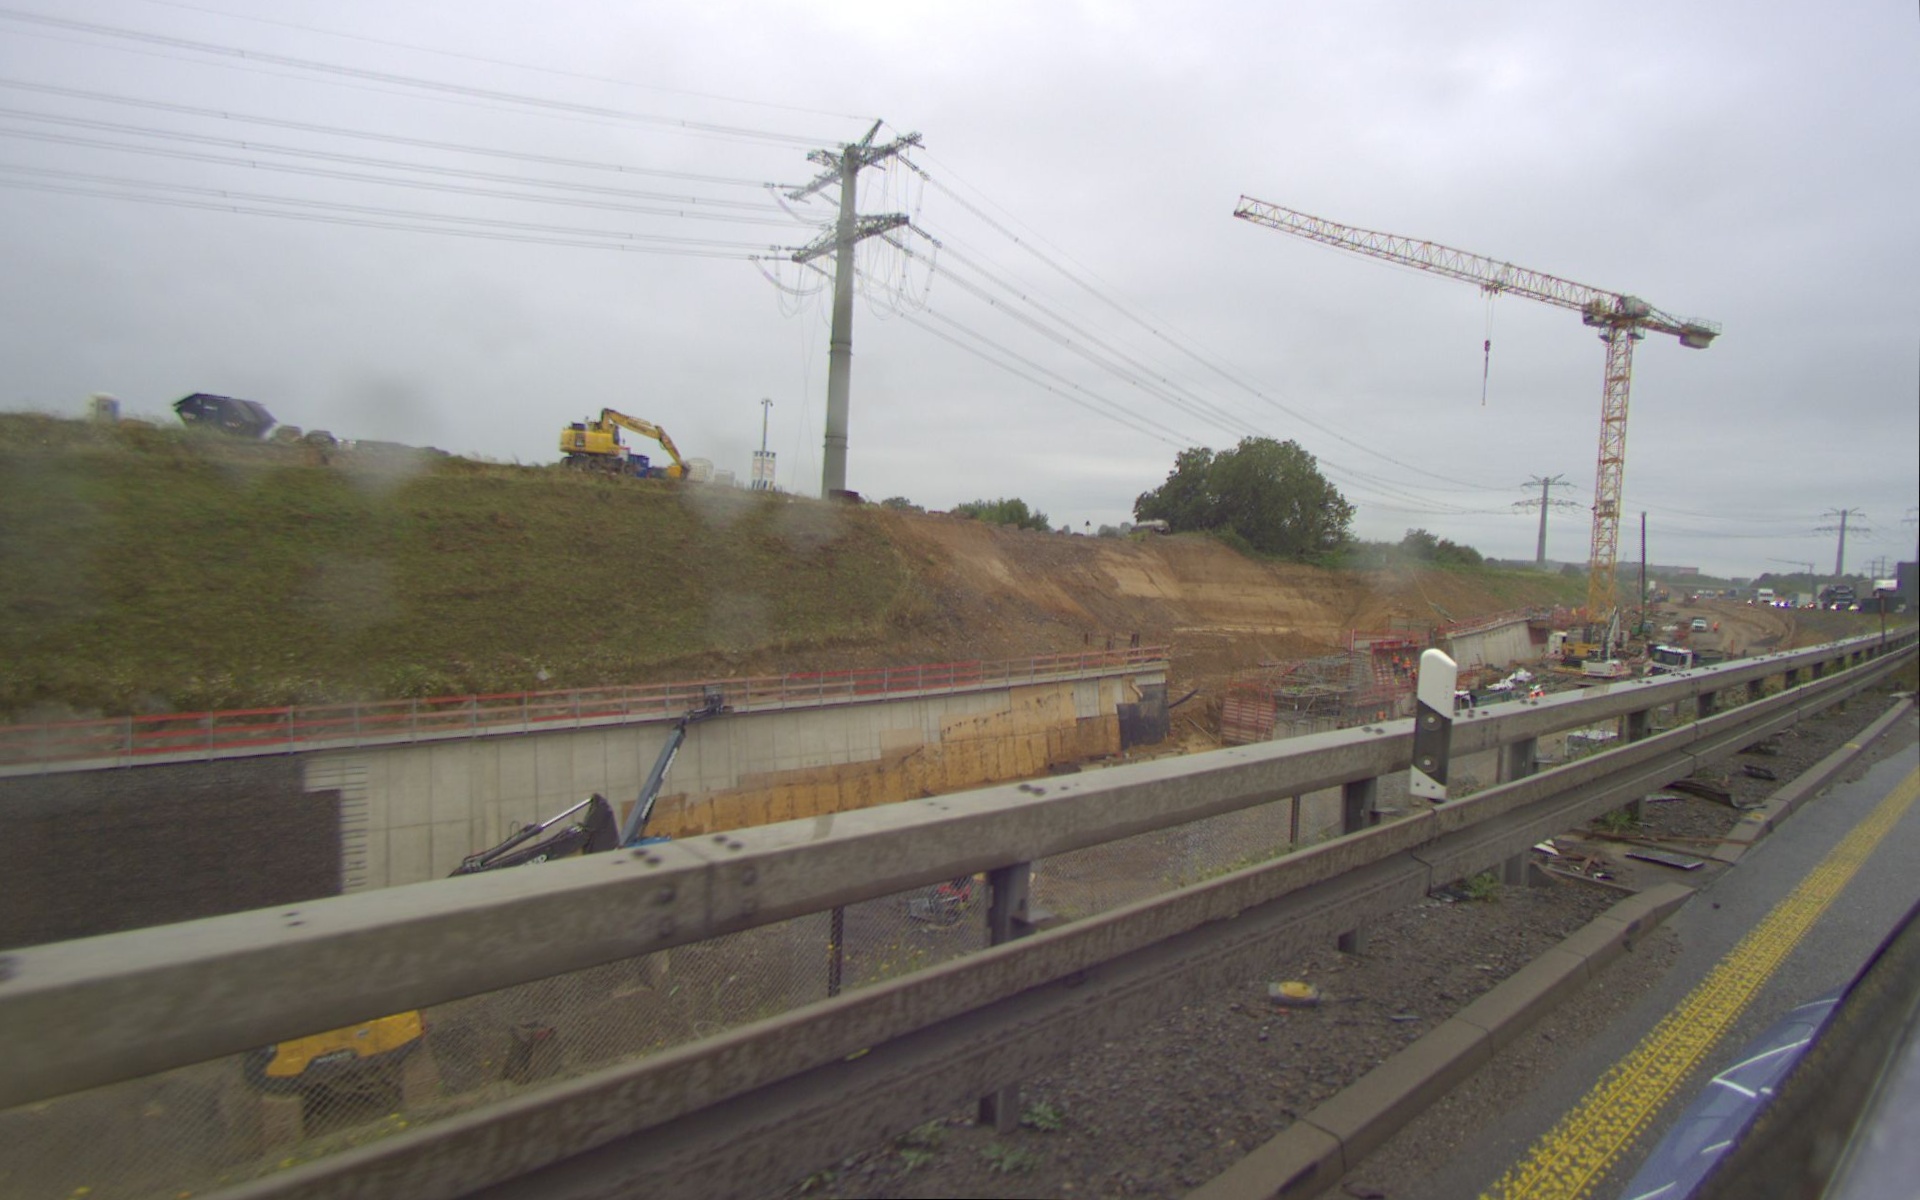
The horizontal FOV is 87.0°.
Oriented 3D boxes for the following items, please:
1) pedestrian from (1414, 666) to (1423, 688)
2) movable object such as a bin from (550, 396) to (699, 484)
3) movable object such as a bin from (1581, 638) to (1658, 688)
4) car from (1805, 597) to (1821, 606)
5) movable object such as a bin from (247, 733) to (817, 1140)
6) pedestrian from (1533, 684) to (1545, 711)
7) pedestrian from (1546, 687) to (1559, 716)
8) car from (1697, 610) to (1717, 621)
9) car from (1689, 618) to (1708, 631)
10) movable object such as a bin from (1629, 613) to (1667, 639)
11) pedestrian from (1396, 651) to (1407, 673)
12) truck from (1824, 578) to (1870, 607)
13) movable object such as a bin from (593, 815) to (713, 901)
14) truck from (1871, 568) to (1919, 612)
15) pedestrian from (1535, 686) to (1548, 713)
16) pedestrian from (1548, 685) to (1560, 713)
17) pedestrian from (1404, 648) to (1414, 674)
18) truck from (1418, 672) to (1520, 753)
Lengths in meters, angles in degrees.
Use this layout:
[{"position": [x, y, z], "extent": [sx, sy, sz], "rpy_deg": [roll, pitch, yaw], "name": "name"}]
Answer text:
[{"position": [38.767, 6.476, 85.512], "extent": [0.488, 1.781, 0.474], "rpy_deg": [4, 3, 43], "name": "pedestrian"}, {"position": [-20.321, -9.551, 61.553], "extent": [8.032, 4.258, 3.106], "rpy_deg": [0, 2, -40], "name": "movable object such as a bin"}, {"position": [55.147, 5.175, 84.598], "extent": [6.533, 3.466, 3.517], "rpy_deg": [-2, 2, -39], "name": "movable object such as a bin"}, {"position": [132.307, 0.218, 156.951], "extent": [1.784, 1.445, 3.939], "rpy_deg": [-1, 0, 42], "name": "car"}, {"position": [-10.006, 7.170, 25.031], "extent": [11.884, 5.740, 4.901], "rpy_deg": [-4, 1, -41], "name": "movable object such as a bin"}, {"position": [42.202, 7.101, 73.735], "extent": [0.601, 1.928, 0.474], "rpy_deg": [4, 3, 43], "name": "pedestrian"}, {"position": [42.358, 7.243, 72.330], "extent": [0.601, 1.928, 0.605], "rpy_deg": [3, 2, 43], "name": "pedestrian"}, {"position": [125.231, 2.640, 169.601], "extent": [2.343, 1.638, 4.787], "rpy_deg": [2, 2, 41], "name": "car"}, {"position": [107.604, 3.579, 147.466], "extent": [1.853, 1.638, 4.020], "rpy_deg": [2, 2, 41], "name": "car"}, {"position": [92.762, 3.488, 136.511], "extent": [3.494, 2.915, 3.939], "rpy_deg": [9, 6, 42], "name": "movable object such as a bin"}, {"position": [36.731, 5.149, 84.213], "extent": [0.570, 1.827, 0.490], "rpy_deg": [-3, -3, -7], "name": "pedestrian"}, {"position": [125.499, -1.007, 143.271], "extent": [3.520, 3.943, 8.241], "rpy_deg": [-1, 0, 32], "name": "truck"}, {"position": [-10.708, 8.931, 35.379], "extent": [2.515, 1.935, 3.206], "rpy_deg": [-2, -1, 44], "name": "movable object such as a bin"}, {"position": [99.710, -1.013, 107.359], "extent": [4.303, 4.399, 13.208], "rpy_deg": [-1, 0, 41], "name": "truck"}, {"position": [41.320, 7.092, 71.865], "extent": [0.602, 1.791, 0.474], "rpy_deg": [6, 4, 43], "name": "pedestrian"}, {"position": [42.755, 7.140, 72.858], "extent": [0.601, 1.928, 0.474], "rpy_deg": [3, 3, 43], "name": "pedestrian"}, {"position": [37.844, 5.158, 85.372], "extent": [0.487, 2.127, 0.474], "rpy_deg": [-6, -4, 43], "name": "pedestrian"}, {"position": [30.979, 6.653, 61.369], "extent": [8.926, 3.655, 2.706], "rpy_deg": [-2, 4, -44], "name": "truck"}]
